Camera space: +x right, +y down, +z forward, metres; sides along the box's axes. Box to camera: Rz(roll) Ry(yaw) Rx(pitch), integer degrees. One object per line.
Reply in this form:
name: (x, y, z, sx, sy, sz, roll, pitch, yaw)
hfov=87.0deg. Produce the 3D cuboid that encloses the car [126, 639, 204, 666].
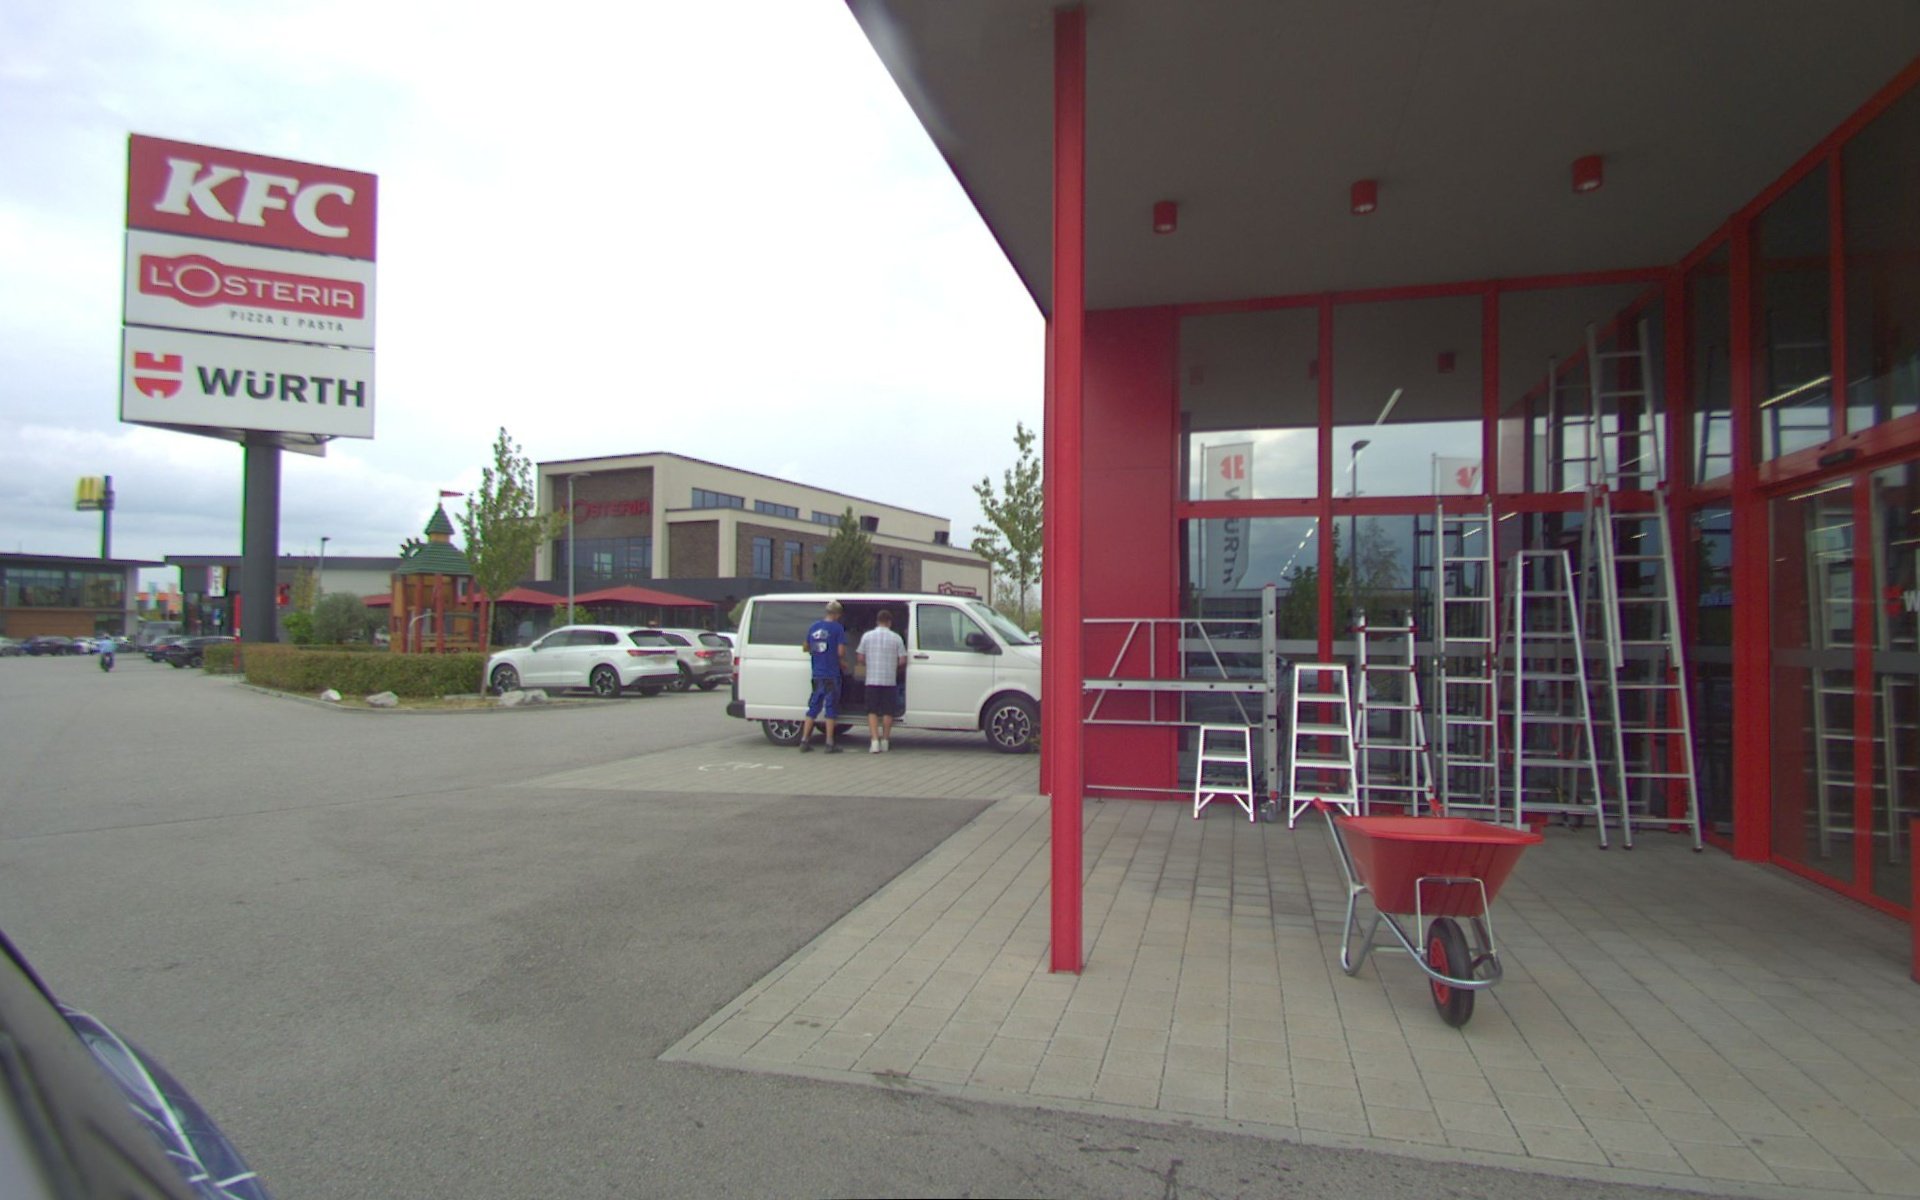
car: (-56.571, 3.717, 72.060, 1.994, 1.852, 3.956, -1, -2, 32)

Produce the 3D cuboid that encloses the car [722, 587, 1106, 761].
car: (-0.540, 0.912, 13.324, 4.713, 2.029, 1.929, -1, -2, 14)

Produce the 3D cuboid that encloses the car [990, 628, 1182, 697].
car: (3.078, 1.492, 24.623, 4.378, 1.567, 1.747, -1, -2, 20)

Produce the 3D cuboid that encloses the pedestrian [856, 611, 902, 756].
pedestrian: (-0.975, 0.997, 12.286, 0.357, 1.715, 0.582, -1, -3, 18)

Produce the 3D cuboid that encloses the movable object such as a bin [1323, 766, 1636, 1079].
movable object such as a bin: (1.886, 1.119, 3.944, 0.797, 0.721, 1.576, -1, -3, 17)

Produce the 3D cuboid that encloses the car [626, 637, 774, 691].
car: (-7.883, 1.924, 30.938, 3.950, 1.577, 1.996, -1, -2, 6)

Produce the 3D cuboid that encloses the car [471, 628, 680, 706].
car: (-9.265, 1.571, 24.422, 4.704, 1.762, 1.747, -1, -2, 19)

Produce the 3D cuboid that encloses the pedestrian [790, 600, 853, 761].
pedestrian: (-1.664, 0.951, 12.169, 0.618, 1.870, 0.587, -1, -2, 8)

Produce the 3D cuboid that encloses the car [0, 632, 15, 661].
car: (-69.684, 3.268, 71.345, 3.933, 2.029, 2.005, 0, -2, -14)

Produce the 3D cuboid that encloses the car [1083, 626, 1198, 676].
car: (6.501, 1.826, 36.422, 3.960, 1.719, 1.992, -1, -2, 13)

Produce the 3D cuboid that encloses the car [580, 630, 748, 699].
car: (-7.863, 1.669, 26.986, 3.968, 1.719, 1.899, -1, -2, 19)

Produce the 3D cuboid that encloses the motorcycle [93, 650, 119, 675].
motorcycle: (-39.039, 2.851, 46.260, 0.804, 1.083, 2.151, 2, -3, -43)

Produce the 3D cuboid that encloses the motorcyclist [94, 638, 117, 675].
motorcyclist: (-39.199, 2.577, 46.431, 0.743, 1.651, 1.039, 1, -2, -43)

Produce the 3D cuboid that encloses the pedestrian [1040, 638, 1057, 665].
pedestrian: (4.601, 2.674, 52.625, 0.692, 1.387, 0.701, -1, -3, 21)

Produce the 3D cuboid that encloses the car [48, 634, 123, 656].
car: (-68.476, 3.485, 79.293, 3.933, 1.674, 2.005, 0, -2, -14)

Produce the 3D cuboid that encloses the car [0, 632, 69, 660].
car: (-68.949, 3.365, 74.919, 3.933, 2.029, 2.005, 0, -2, -14)

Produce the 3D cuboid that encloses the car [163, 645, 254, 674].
car: (-37.719, 2.966, 50.849, 1.497, 1.305, 3.400, -2, -2, 37)
